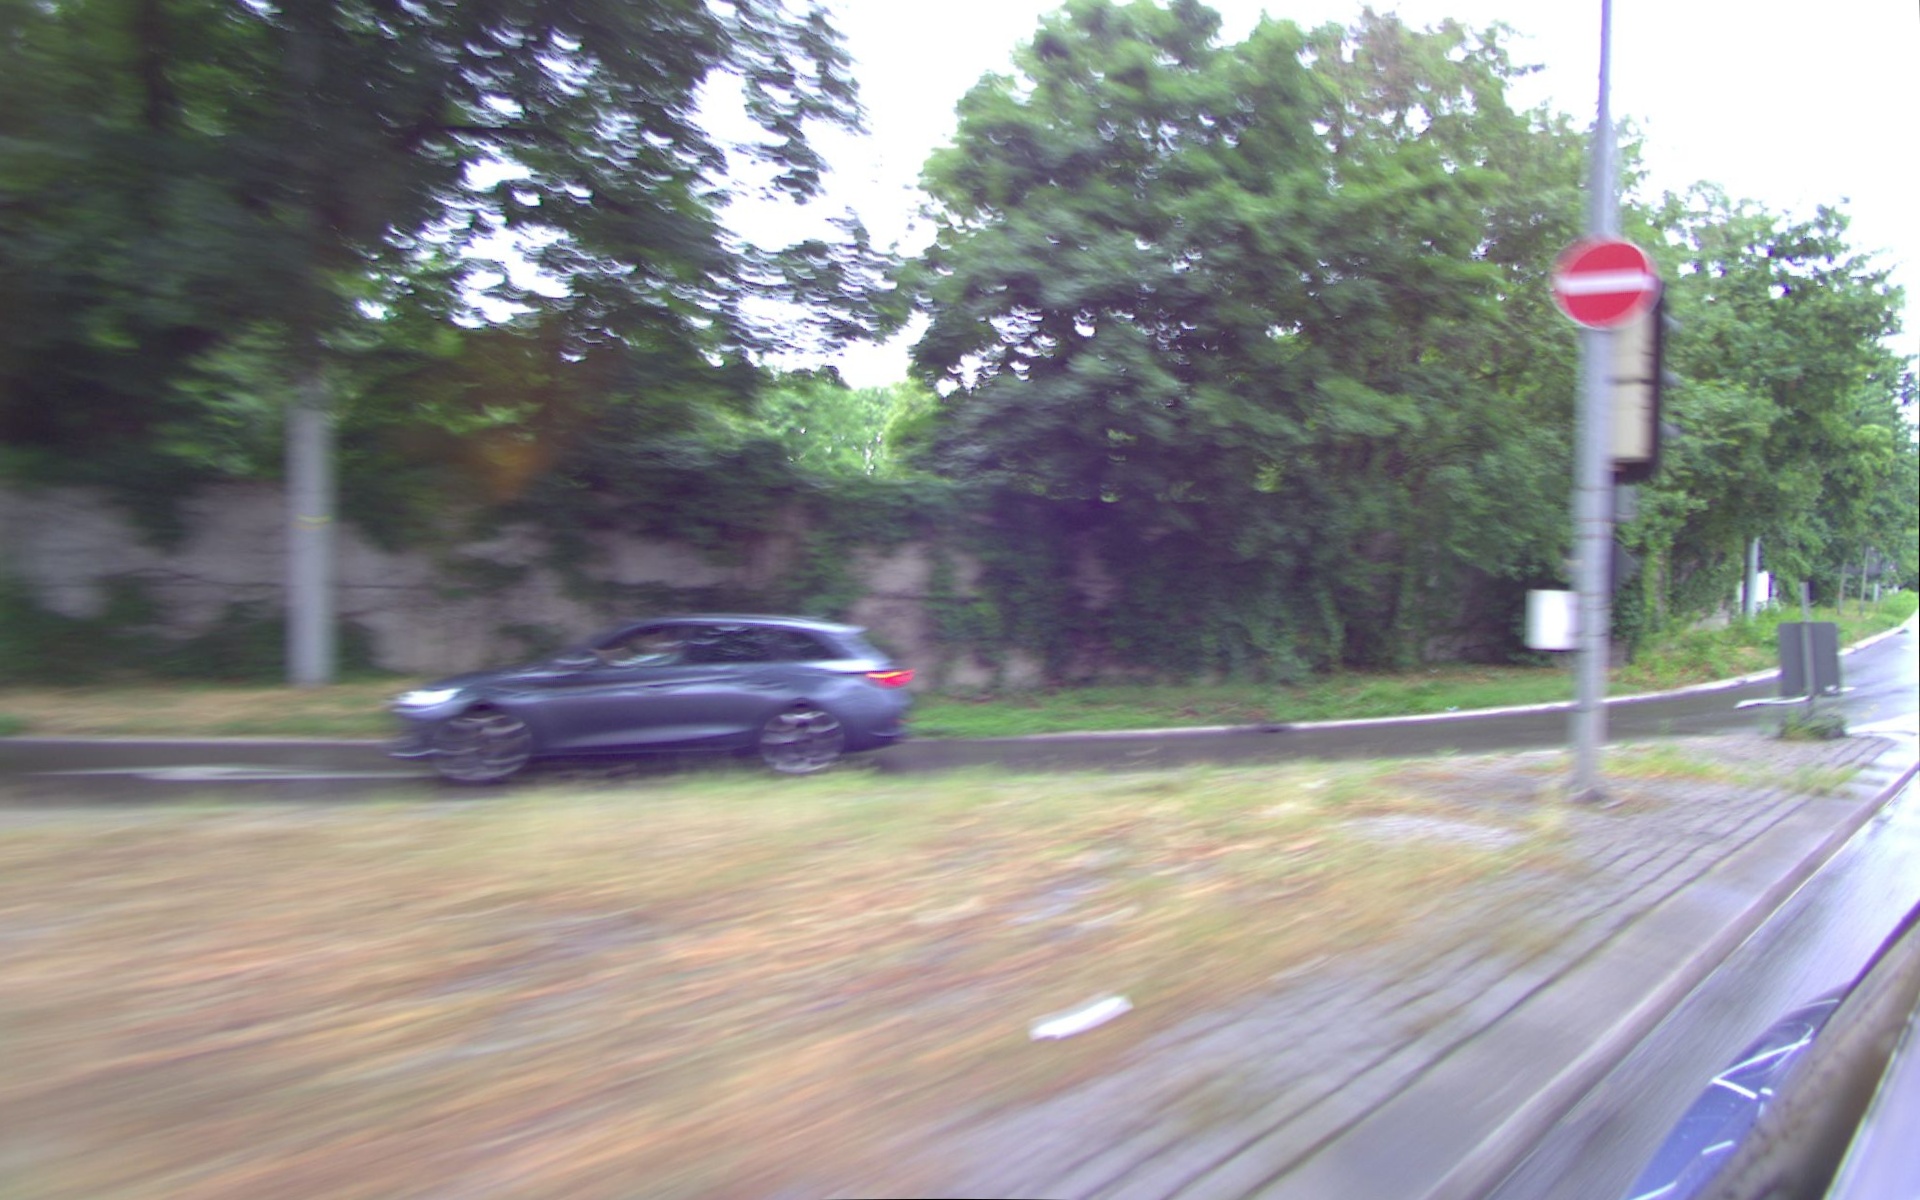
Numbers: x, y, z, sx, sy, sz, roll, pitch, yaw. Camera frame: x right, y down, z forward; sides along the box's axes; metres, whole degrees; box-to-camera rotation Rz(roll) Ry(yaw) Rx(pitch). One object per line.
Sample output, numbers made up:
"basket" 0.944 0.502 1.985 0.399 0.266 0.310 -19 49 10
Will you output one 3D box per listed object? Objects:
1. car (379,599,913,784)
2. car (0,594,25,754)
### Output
"car" -2.724 0.763 9.416 4.322 1.421 1.756 -1 -2 -12
"car" -10.999 0.698 8.431 4.525 1.467 1.860 0 0 -6
